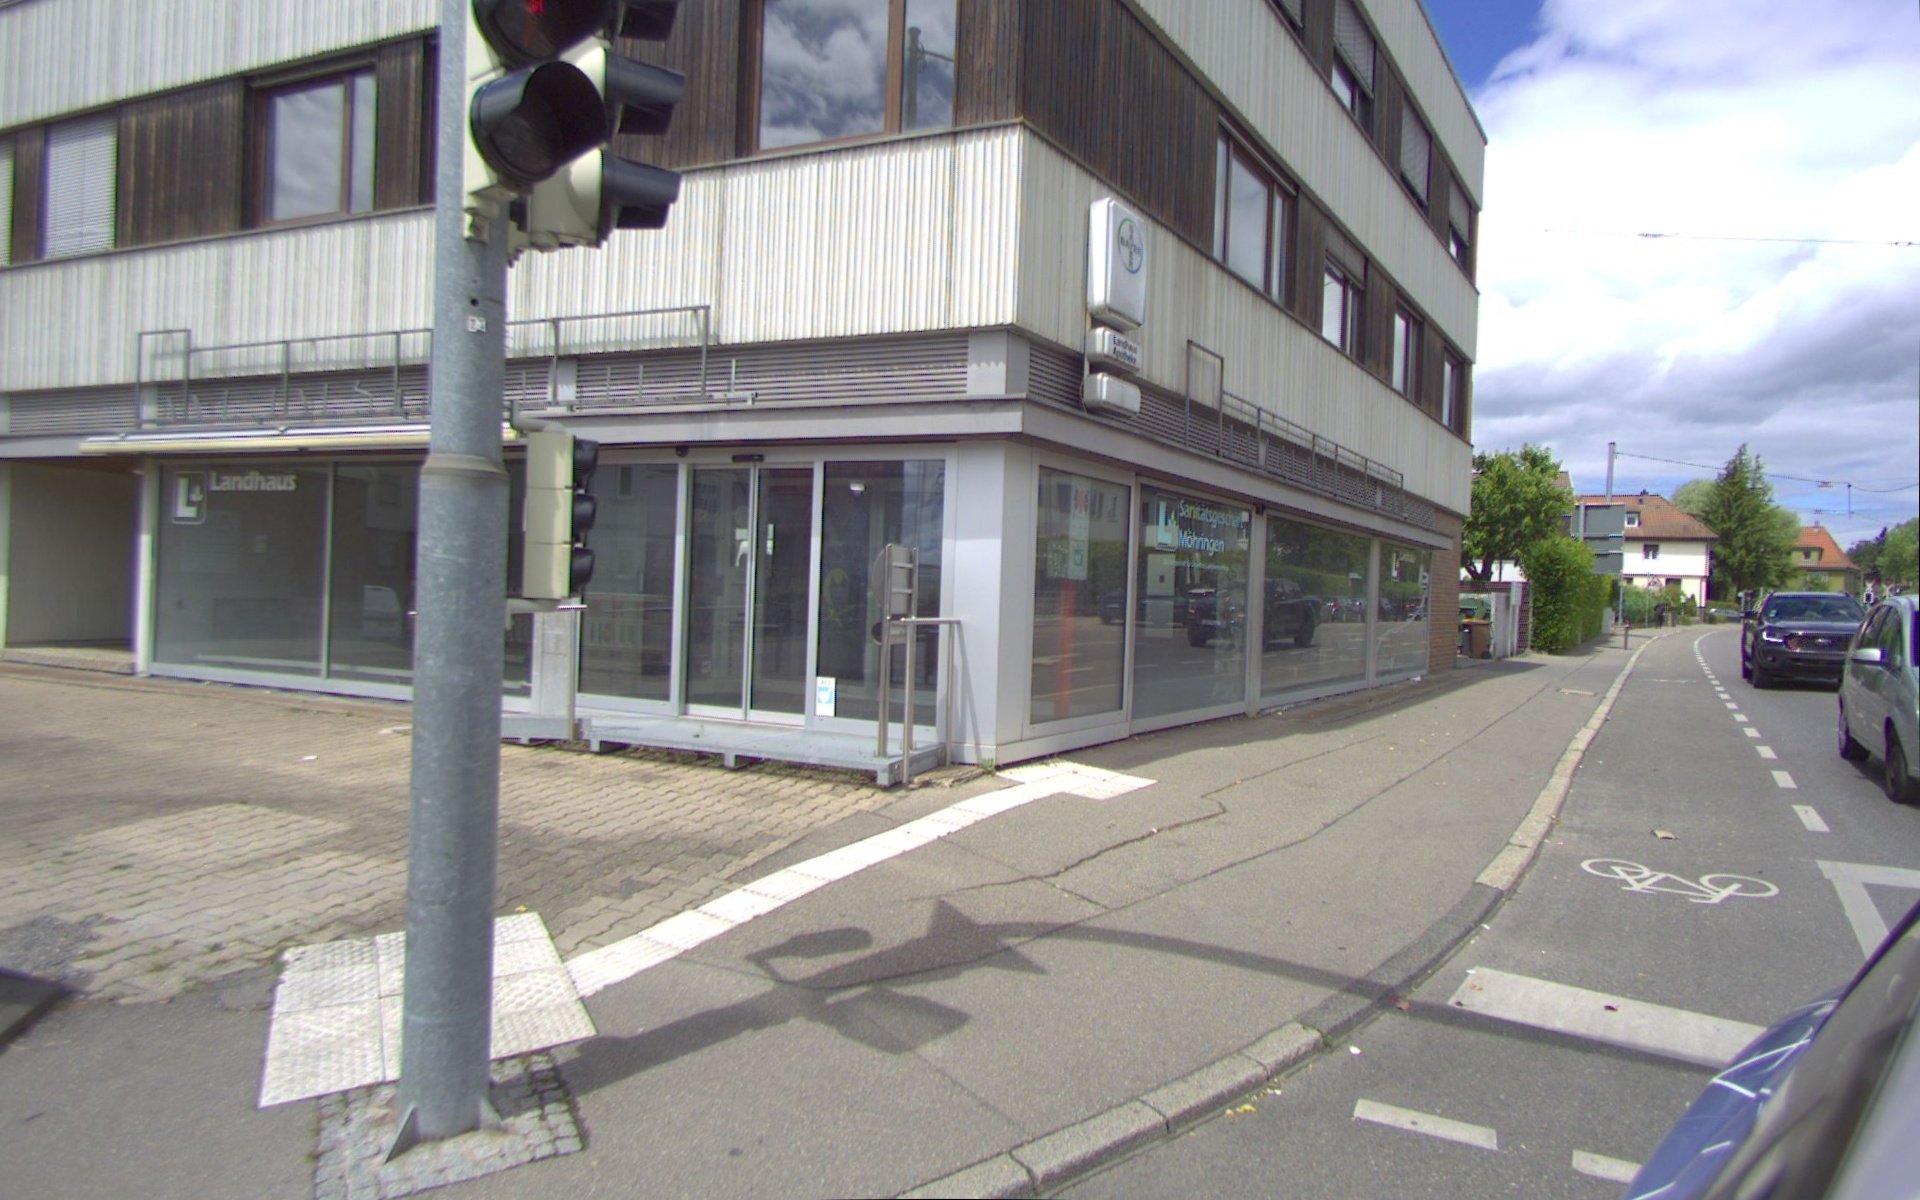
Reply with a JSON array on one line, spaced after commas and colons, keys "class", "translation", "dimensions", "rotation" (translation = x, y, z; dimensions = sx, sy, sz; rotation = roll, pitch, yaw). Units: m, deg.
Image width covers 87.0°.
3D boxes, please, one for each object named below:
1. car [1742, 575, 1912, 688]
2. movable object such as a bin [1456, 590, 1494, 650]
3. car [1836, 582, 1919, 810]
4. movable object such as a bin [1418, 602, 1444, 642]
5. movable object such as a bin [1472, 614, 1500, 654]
[{"class": "car", "translation": [16.587, 0.512, 19.624], "dimensions": [1.875, 1.872, 5.157], "rotation": [1, 1, 34]}, {"class": "movable object such as a bin", "translation": [12.948, 0.491, 25.423], "dimensions": [0.804, 1.473, 0.473], "rotation": [1, 0, 32]}, {"class": "car", "translation": [8.515, 0.685, 8.202], "dimensions": [1.764, 1.595, 3.949], "rotation": [1, 1, 36]}, {"class": "movable object such as a bin", "translation": [13.115, 0.602, 28.174], "dimensions": [0.588, 1.088, 0.486], "rotation": [1, 0, 17]}, {"class": "movable object such as a bin", "translation": [12.697, 0.808, 24.431], "dimensions": [0.511, 0.933, 0.476], "rotation": [1, 0, 18]}]
